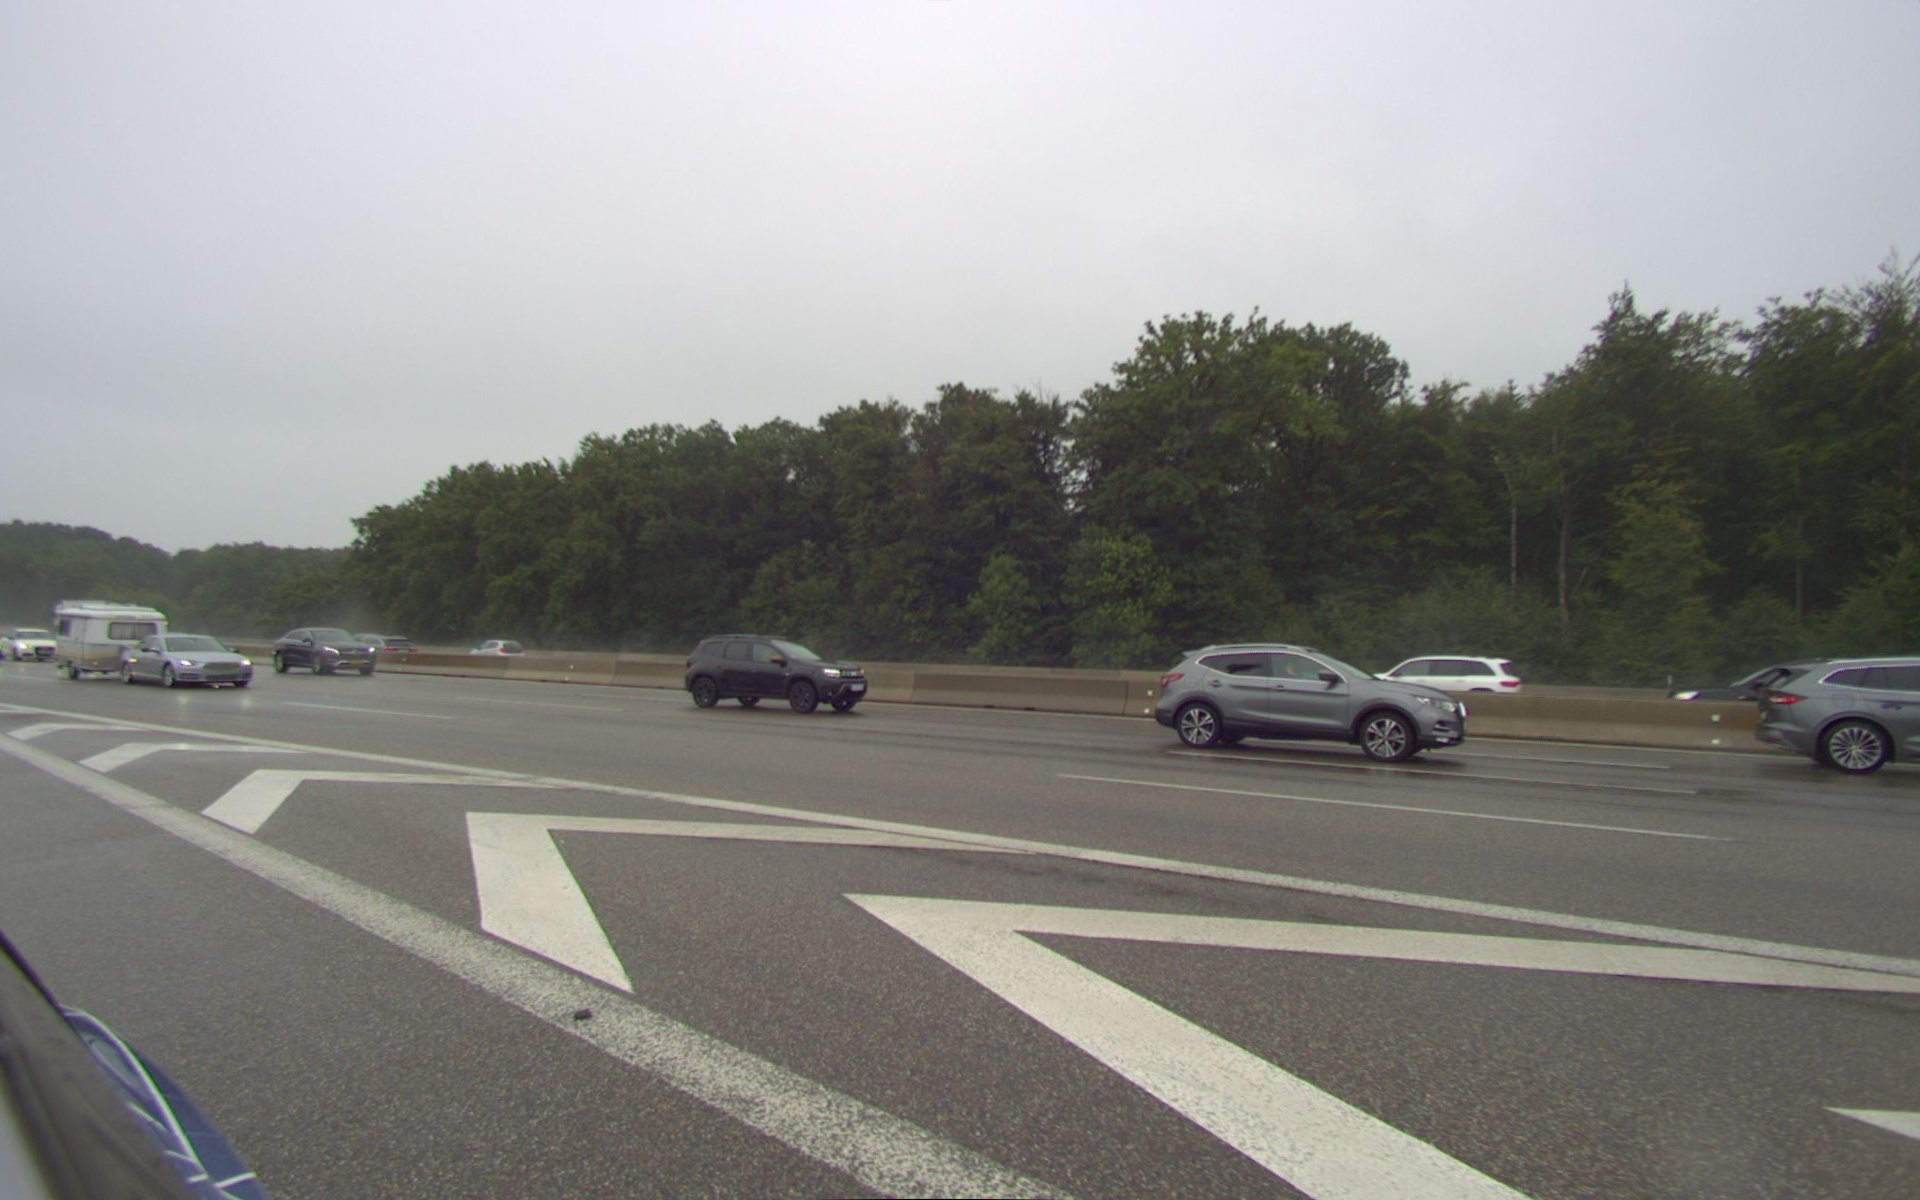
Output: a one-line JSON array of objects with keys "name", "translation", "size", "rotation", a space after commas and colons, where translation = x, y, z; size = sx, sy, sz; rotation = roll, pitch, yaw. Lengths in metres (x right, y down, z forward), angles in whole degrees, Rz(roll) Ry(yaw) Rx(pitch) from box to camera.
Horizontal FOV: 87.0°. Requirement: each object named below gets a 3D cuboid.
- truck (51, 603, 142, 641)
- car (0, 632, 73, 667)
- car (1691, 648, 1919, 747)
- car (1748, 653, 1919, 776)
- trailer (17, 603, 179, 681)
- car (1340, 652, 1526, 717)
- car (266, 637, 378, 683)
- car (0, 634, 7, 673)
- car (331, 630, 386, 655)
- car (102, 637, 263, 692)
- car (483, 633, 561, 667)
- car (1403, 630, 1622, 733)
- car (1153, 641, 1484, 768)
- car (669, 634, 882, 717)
[{"name": "truck", "translation": [-88.464, 2.297, 103.520], "size": [15.171, 3.693, 3.121], "rotation": [-1, -3, 35]}, {"name": "car", "translation": [-42.055, 2.221, 45.614], "size": [4.488, 1.492, 1.865], "rotation": [-1, -4, 32]}, {"name": "car", "translation": [16.908, 1.845, 19.660], "size": [4.196, 1.697, 1.979], "rotation": [0, -3, 31]}, {"name": "car", "translation": [13.559, 1.556, 13.650], "size": [4.446, 1.586, 1.704], "rotation": [-1, -4, 33]}, {"name": "trailer", "translation": [-26.076, 1.299, 30.584], "size": [5.161, 2.172, 2.113], "rotation": [-1, -5, 31]}, {"name": "car", "translation": [12.665, 2.207, 27.182], "size": [4.322, 1.538, 1.774], "rotation": [-1, -3, 33]}, {"name": "car", "translation": [-24.097, 2.258, 38.181], "size": [4.510, 1.587, 1.691], "rotation": [-1, -5, 32]}, {"name": "car", "translation": [-39.119, 2.019, 39.227], "size": [4.483, 1.492, 1.867], "rotation": [-1, -4, 29]}, {"name": "car", "translation": [-43.126, 3.040, 72.550], "size": [3.985, 1.763, 1.673], "rotation": [-1, -3, 31]}, {"name": "car", "translation": [-20.765, 1.703, 26.990], "size": [4.565, 1.358, 1.832], "rotation": [-1, -5, 31]}, {"name": "car", "translation": [-24.040, 2.715, 55.539], "size": [3.985, 1.763, 1.979], "rotation": [-1, -1, 31]}, {"name": "car", "translation": [11.902, 1.682, 21.948], "size": [3.986, 2.029, 1.860], "rotation": [-1, -3, 31]}, {"name": "car", "translation": [5.201, 1.446, 14.888], "size": [4.321, 1.586, 1.705], "rotation": [-1, -4, 33]}, {"name": "car", "translation": [-4.136, 1.635, 22.548], "size": [4.440, 1.676, 1.913], "rotation": [-1, -4, 29]}]
